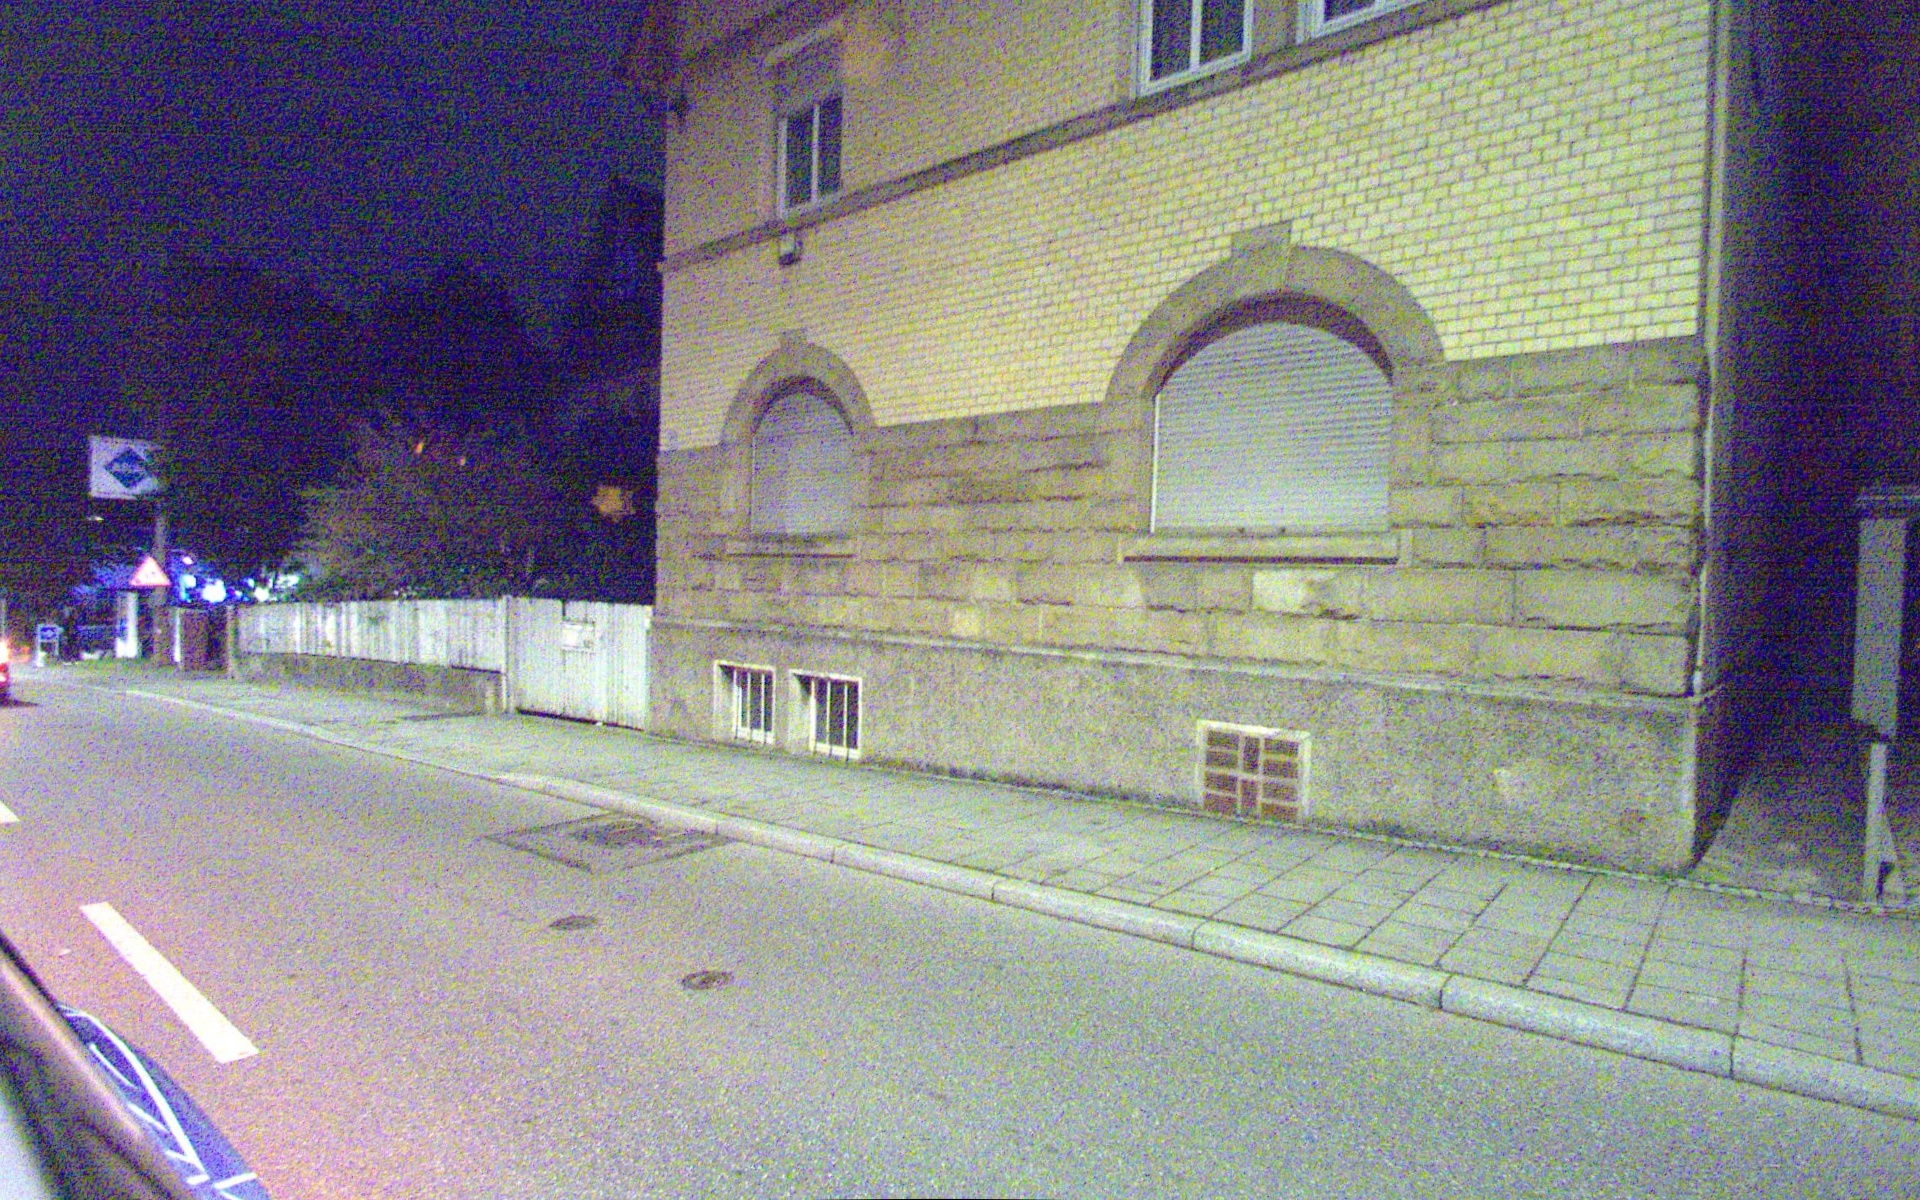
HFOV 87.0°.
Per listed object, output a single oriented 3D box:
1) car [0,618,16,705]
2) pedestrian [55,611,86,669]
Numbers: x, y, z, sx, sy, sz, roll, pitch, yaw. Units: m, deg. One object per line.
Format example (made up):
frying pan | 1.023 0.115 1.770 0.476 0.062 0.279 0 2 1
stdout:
car | -17.751 1.132 17.396 3.482 1.453 1.733 -5 -2 39
pedestrian | -27.741 1.251 31.553 0.500 1.773 0.664 -1 0 41
